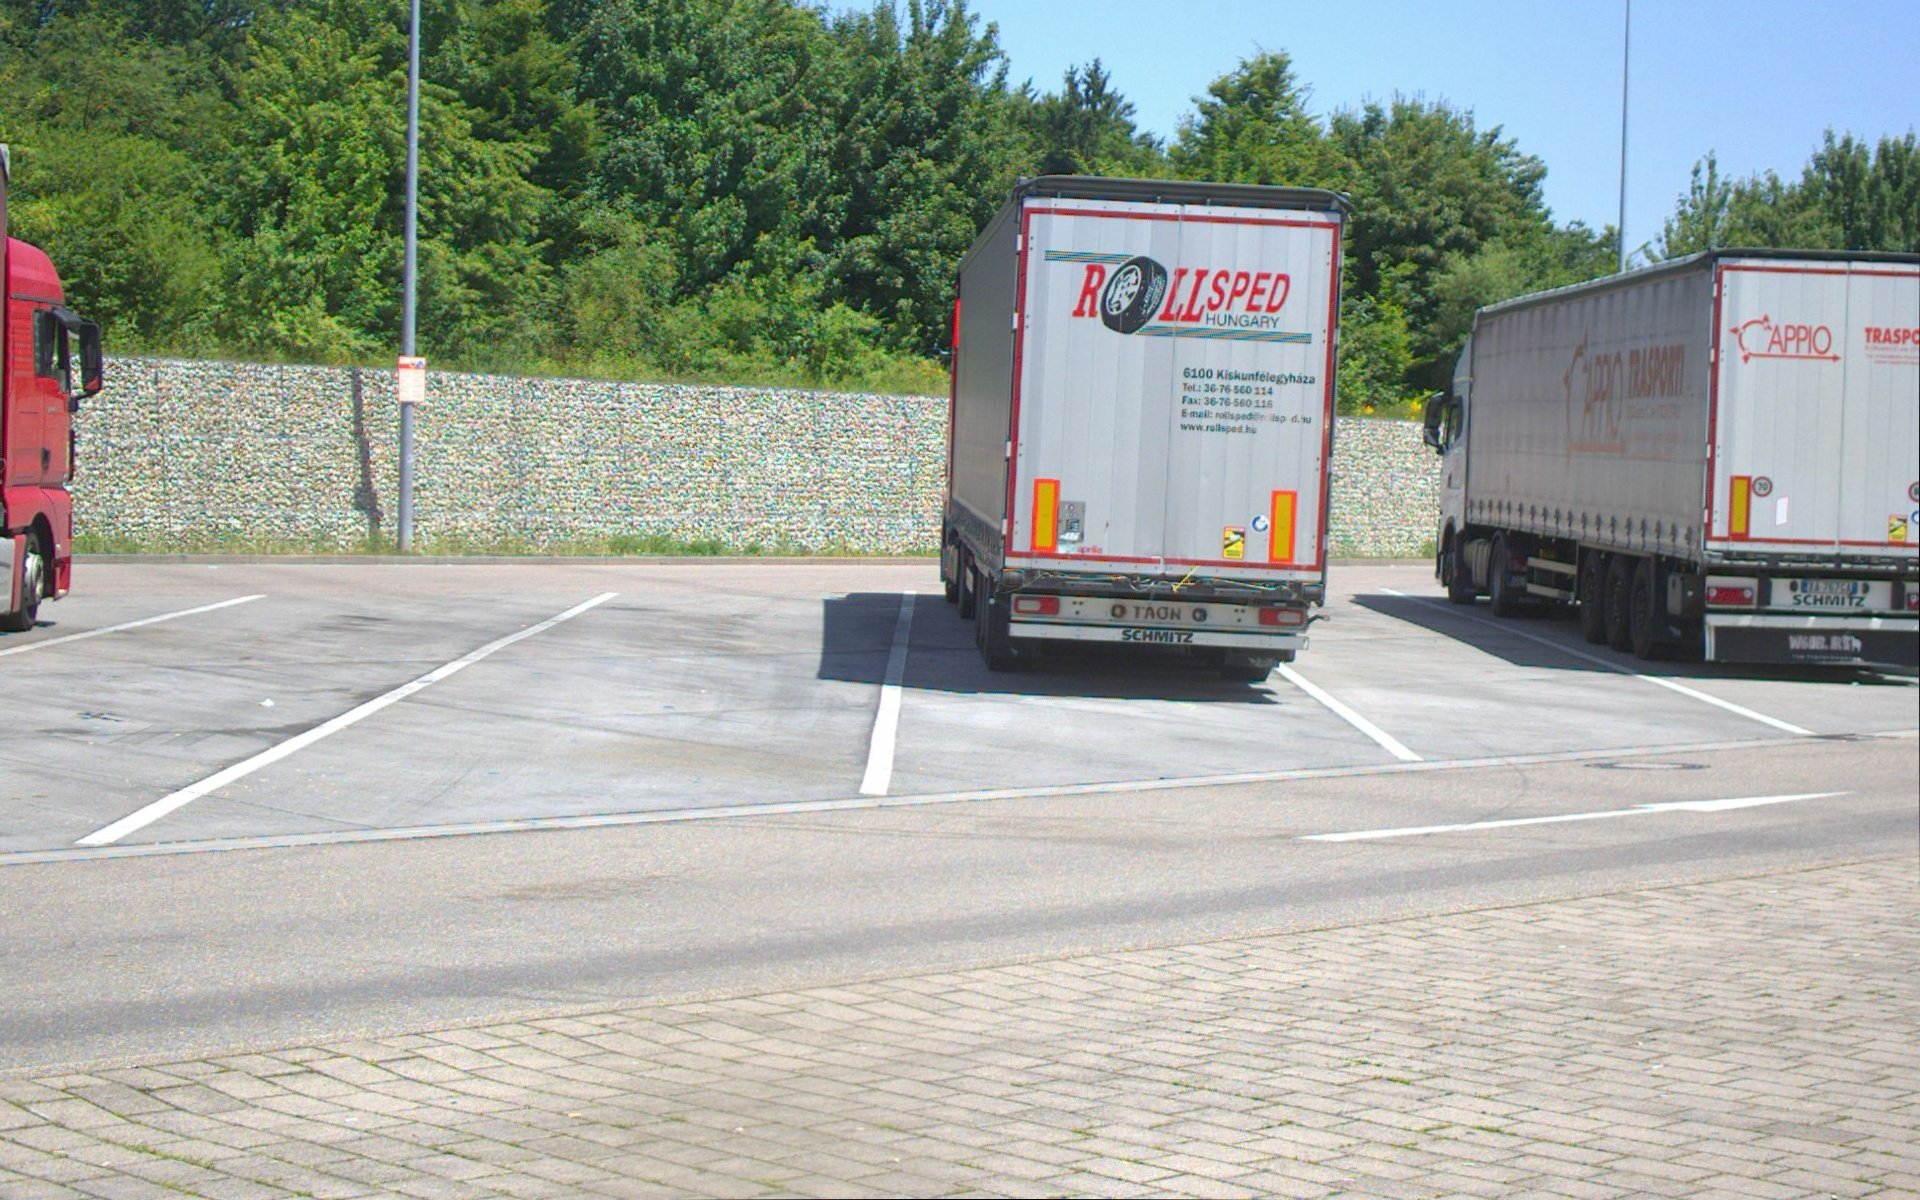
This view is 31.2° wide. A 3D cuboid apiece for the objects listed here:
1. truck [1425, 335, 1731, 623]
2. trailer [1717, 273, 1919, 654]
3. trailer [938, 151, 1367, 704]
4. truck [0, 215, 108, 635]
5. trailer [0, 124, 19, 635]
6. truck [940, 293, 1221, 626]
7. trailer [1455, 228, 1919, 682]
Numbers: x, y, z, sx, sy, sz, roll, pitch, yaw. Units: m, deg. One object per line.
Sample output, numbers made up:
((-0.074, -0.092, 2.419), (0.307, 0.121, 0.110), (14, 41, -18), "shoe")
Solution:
((8.052, -1.627, 45.498), (2.852, 3.472, 5.483), (2, 2, -1), "truck")
((11.782, -1.534, 39.438), (2.838, 4.118, 13.724), (2, 3, -1), "trailer")
((1.430, -1.623, 33.194), (2.906, 4.118, 13.725), (2, 3, -1), "trailer")
((-9.246, -1.503, 28.735), (2.852, 3.416, 5.483), (2, 2, -1), "truck")
((-9.154, -1.488, 21.296), (2.906, 4.118, 13.725), (2, 3, -1), "trailer")
((1.280, -1.630, 39.807), (2.852, 3.472, 5.483), (2, 2, -1), "truck")
((8.146, -1.630, 38.685), (2.838, 4.118, 13.724), (2, 3, -1), "trailer")
